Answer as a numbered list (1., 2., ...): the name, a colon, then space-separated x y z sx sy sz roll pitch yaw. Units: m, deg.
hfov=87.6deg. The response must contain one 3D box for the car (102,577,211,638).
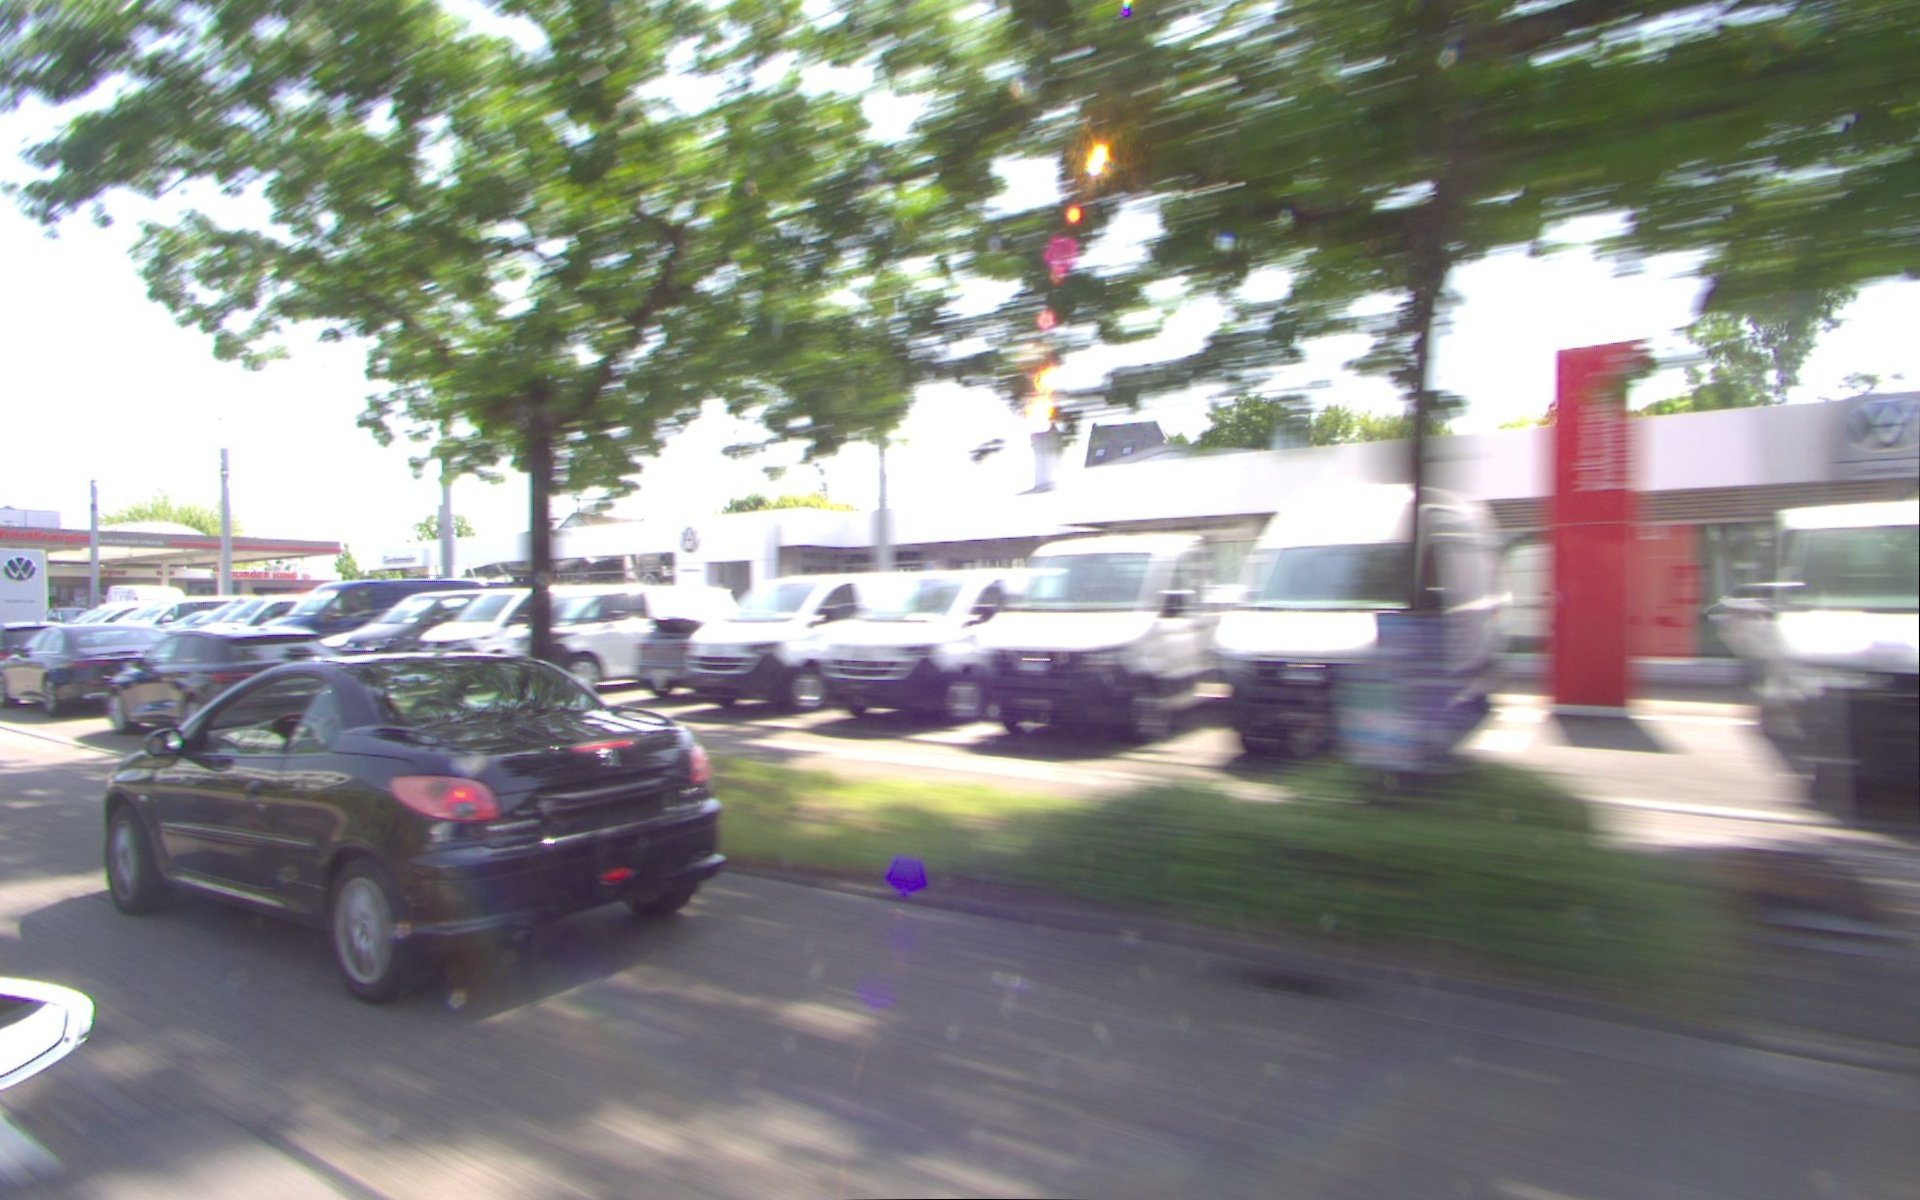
1. car: -38.370 0.348 47.736 6.924 2.711 2.249 0 1 36

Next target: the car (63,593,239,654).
1. car: -26.652 0.740 33.114 1.856 1.804 4.138 -2 0 34

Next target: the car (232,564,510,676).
1. car: -14.947 0.559 25.791 2.177 2.555 5.823 -2 -2 37

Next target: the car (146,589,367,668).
1. car: -19.901 0.787 28.543 1.976 2.010 4.773 2 0 35

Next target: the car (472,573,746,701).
1. car: -6.631 0.612 19.364 2.169 2.041 4.492 -2 2 36

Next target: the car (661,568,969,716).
1. car: -2.111 0.543 16.111 2.113 1.997 4.897 -1 1 35

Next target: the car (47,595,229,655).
1. car: -28.283 0.852 34.608 1.832 1.912 4.545 -2 -2 34

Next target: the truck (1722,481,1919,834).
1. truck: 8.483 0.342 9.068 2.337 2.368 6.223 1 1 36

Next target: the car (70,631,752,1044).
1. car: -2.978 0.908 5.257 3.609 1.444 1.597 -1 0 32

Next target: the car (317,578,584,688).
1. car: -11.182 0.600 22.349 2.100 2.143 4.885 0 2 34

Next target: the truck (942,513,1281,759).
1. truck: 2.185 0.329 12.771 2.084 2.469 5.228 0 1 36

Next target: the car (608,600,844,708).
1. car: -4.015 0.848 17.866 1.884 1.491 4.016 0 3 28

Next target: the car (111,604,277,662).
1. car: -22.432 0.966 29.411 1.696 1.590 3.614 -1 -1 40

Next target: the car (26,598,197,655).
1. car: -30.798 0.910 36.478 1.883 1.907 4.400 0 0 34

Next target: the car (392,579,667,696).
1. car: -8.956 0.670 21.325 2.012 2.125 5.048 0 2 34

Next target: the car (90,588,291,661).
1. car: -24.133 0.690 31.600 1.932 2.041 4.627 1 2 33

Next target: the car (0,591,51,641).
1. car: -41.247 0.710 43.132 5.090 2.049 1.988 -1 -1 35

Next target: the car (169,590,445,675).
1. car: -17.447 0.878 27.121 2.229 2.039 5.877 -1 -2 35

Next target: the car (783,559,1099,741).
1. car: -0.039 0.597 14.419 2.129 2.141 4.935 0 0 34

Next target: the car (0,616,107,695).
1. car: -20.226 1.109 21.217 5.082 1.500 1.851 -1 0 32

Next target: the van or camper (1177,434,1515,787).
1. van or camper: 4.906 0.082 11.784 2.244 2.936 6.777 0 0 34

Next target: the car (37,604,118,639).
1. car: -40.035 0.966 45.393 4.538 1.533 1.739 0 -2 35

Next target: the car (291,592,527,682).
1. car: -13.003 0.784 23.937 1.925 1.876 4.554 0 2 34

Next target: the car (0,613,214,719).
1. car: -15.415 1.058 17.781 5.091 1.551 1.954 0 2 35

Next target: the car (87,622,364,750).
1. car: -10.116 1.057 13.686 4.378 1.455 1.677 -1 0 34

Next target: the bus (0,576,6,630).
1. bus: -60.896 0.110 60.815 12.132 3.120 2.793 1 0 39
